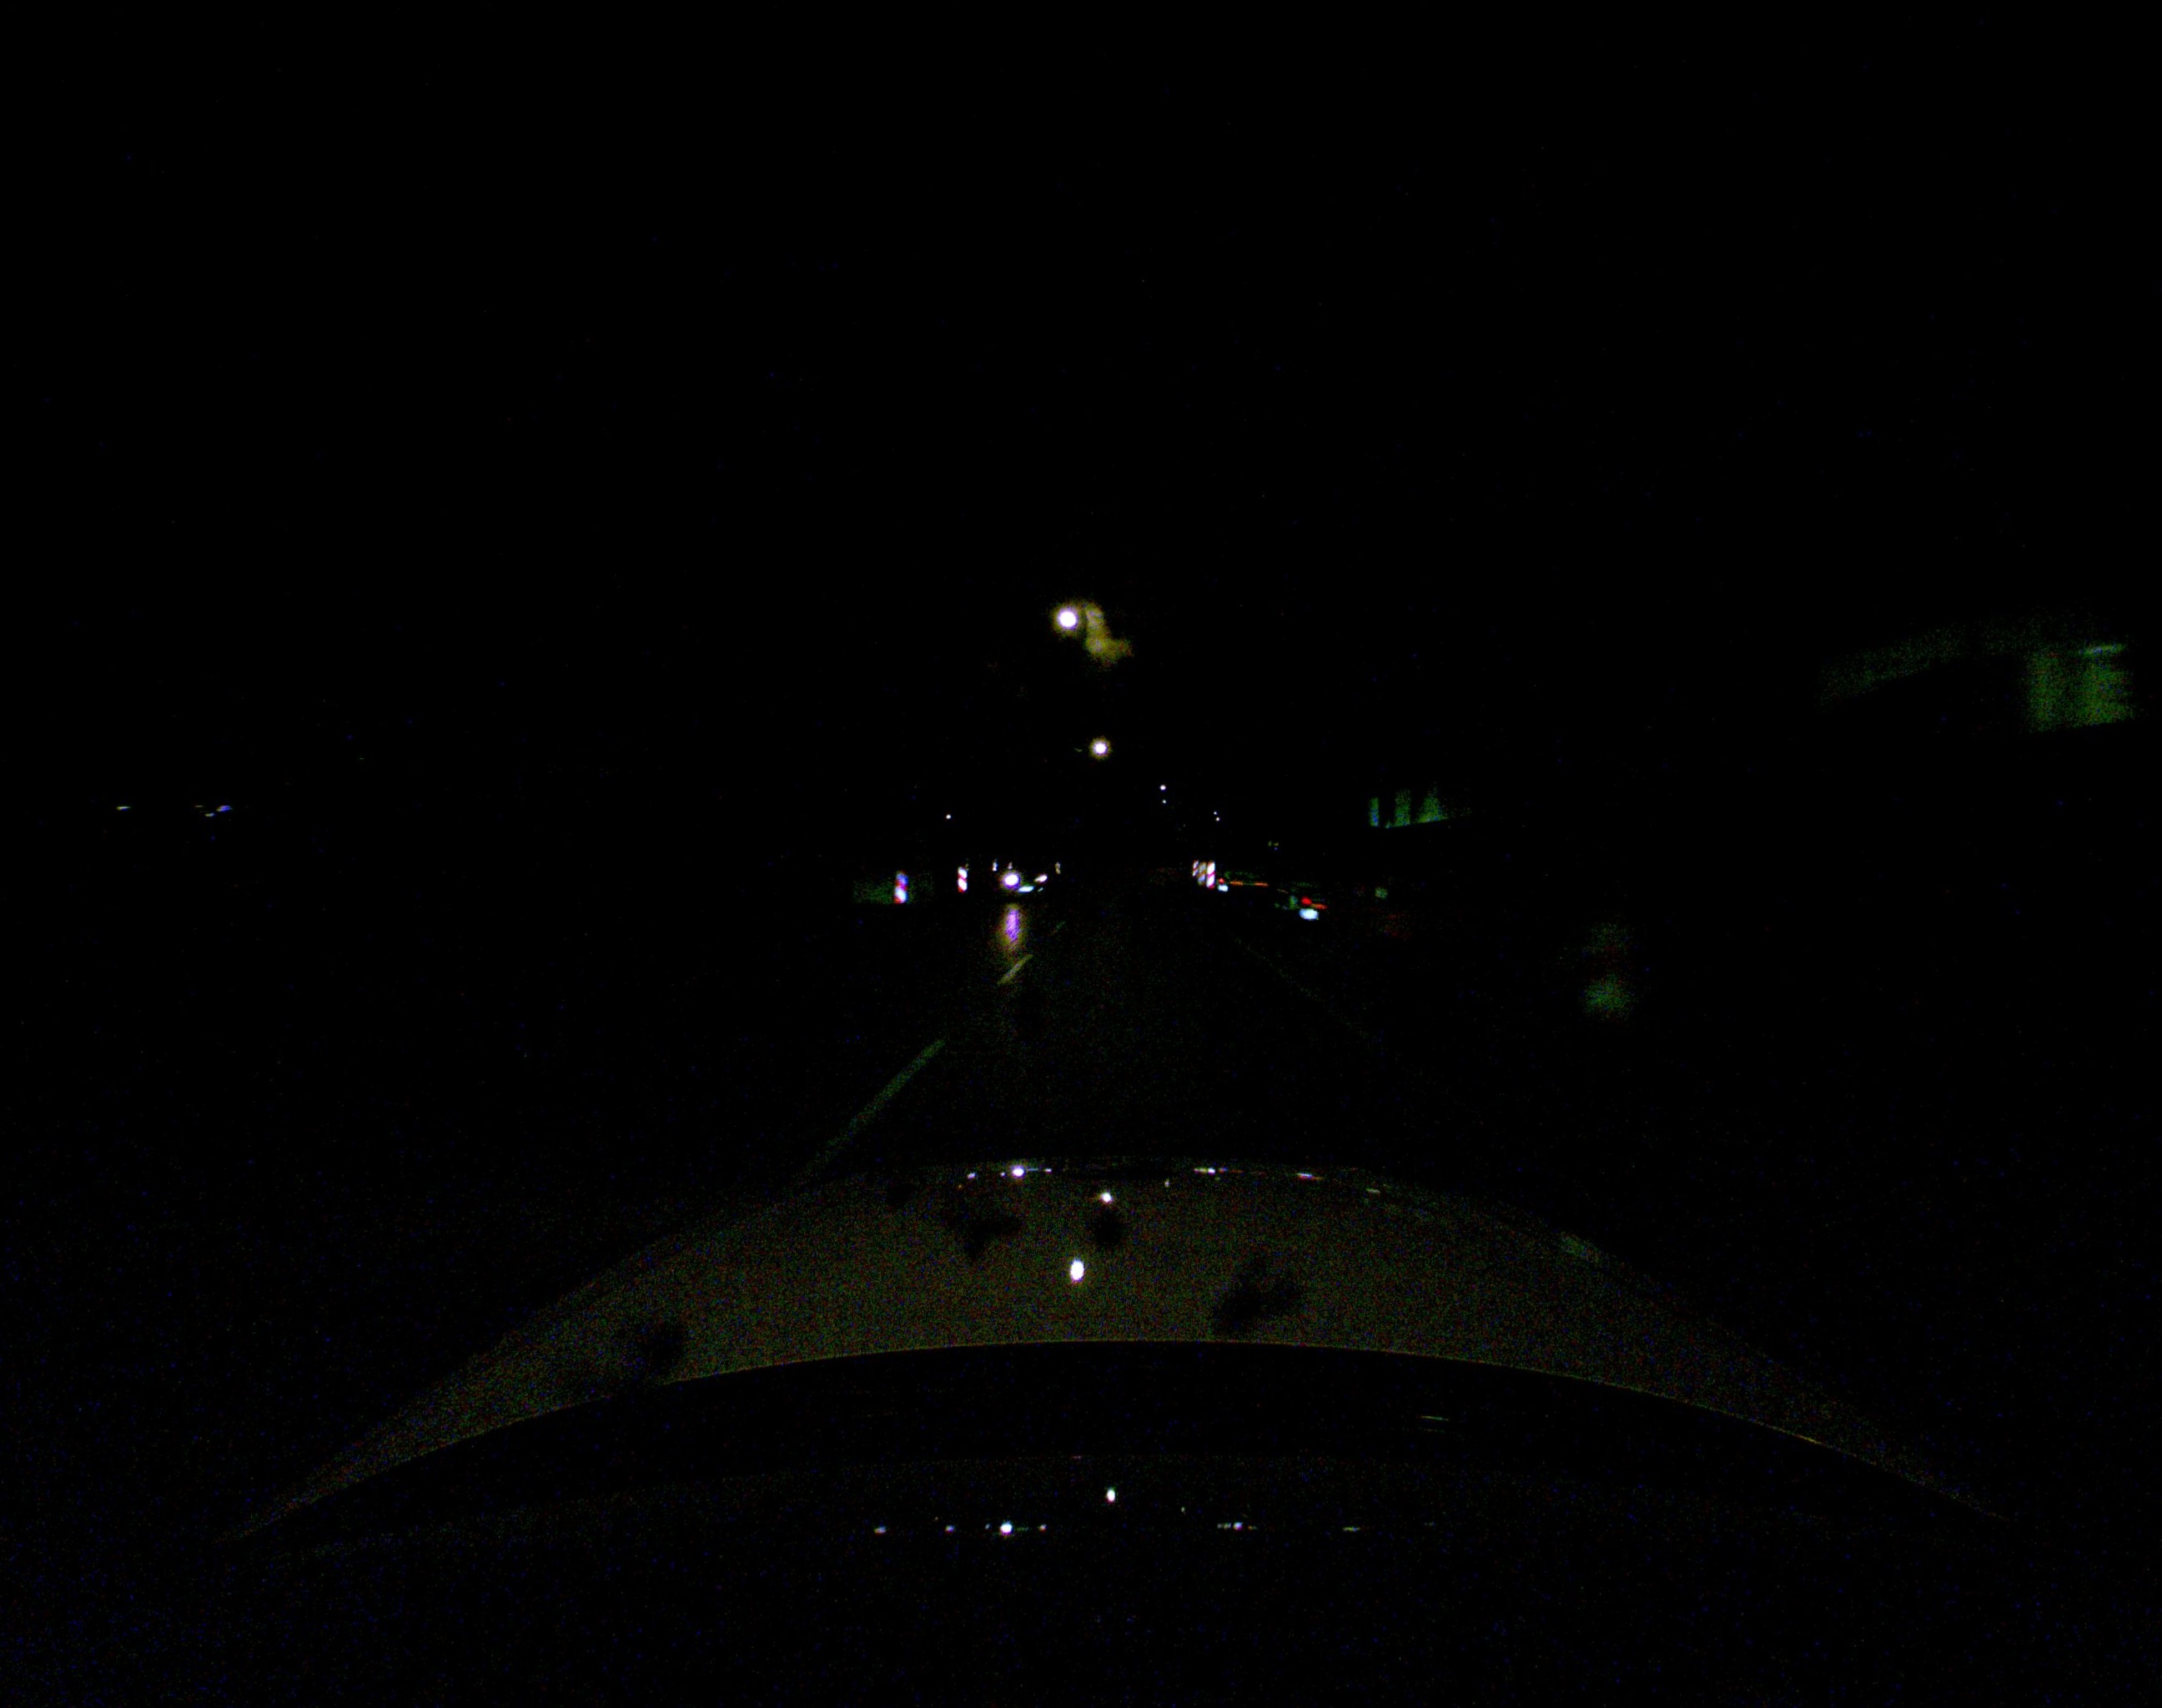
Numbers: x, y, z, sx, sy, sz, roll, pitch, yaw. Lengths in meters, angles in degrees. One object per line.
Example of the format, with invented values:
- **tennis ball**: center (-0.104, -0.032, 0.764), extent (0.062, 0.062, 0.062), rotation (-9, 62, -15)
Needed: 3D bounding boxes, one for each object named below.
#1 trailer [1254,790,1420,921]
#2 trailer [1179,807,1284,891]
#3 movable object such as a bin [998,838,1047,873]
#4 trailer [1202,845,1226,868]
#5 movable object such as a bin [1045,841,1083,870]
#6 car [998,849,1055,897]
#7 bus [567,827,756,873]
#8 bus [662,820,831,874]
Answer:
- **trailer**: center (6.167, 0.054, 20.360), extent (2.606, 2.845, 4.707), rotation (1, 0, -1)
- **trailer**: center (6.240, -0.190, 34.541), extent (3.471, 3.219, 4.863), rotation (1, 0, -1)
- **movable object such as a bin**: center (-4.060, 0.103, 57.625), extent (1.979, 2.376, 4.721), rotation (-1, 0, 15)
- **trailer**: center (8.885, 0.145, 54.714), extent (1.237, 1.434, 3.731), rotation (0, 0, 3)
- **movable object such as a bin**: center (-1.444, 0.121, 69.762), extent (1.979, 2.376, 4.721), rotation (-1, 0, 15)
- **car**: center (-1.938, 0.666, 29.805), extent (1.690, 1.576, 2.959), rotation (-3, 0, 2)
- **bus**: center (-29.900, -0.376, 59.051), extent (2.915, 2.982, 12.353), rotation (0, 1, 32)
- **bus**: center (-21.988, -0.505, 54.967), extent (2.988, 3.204, 12.732), rotation (0, 1, 18)
